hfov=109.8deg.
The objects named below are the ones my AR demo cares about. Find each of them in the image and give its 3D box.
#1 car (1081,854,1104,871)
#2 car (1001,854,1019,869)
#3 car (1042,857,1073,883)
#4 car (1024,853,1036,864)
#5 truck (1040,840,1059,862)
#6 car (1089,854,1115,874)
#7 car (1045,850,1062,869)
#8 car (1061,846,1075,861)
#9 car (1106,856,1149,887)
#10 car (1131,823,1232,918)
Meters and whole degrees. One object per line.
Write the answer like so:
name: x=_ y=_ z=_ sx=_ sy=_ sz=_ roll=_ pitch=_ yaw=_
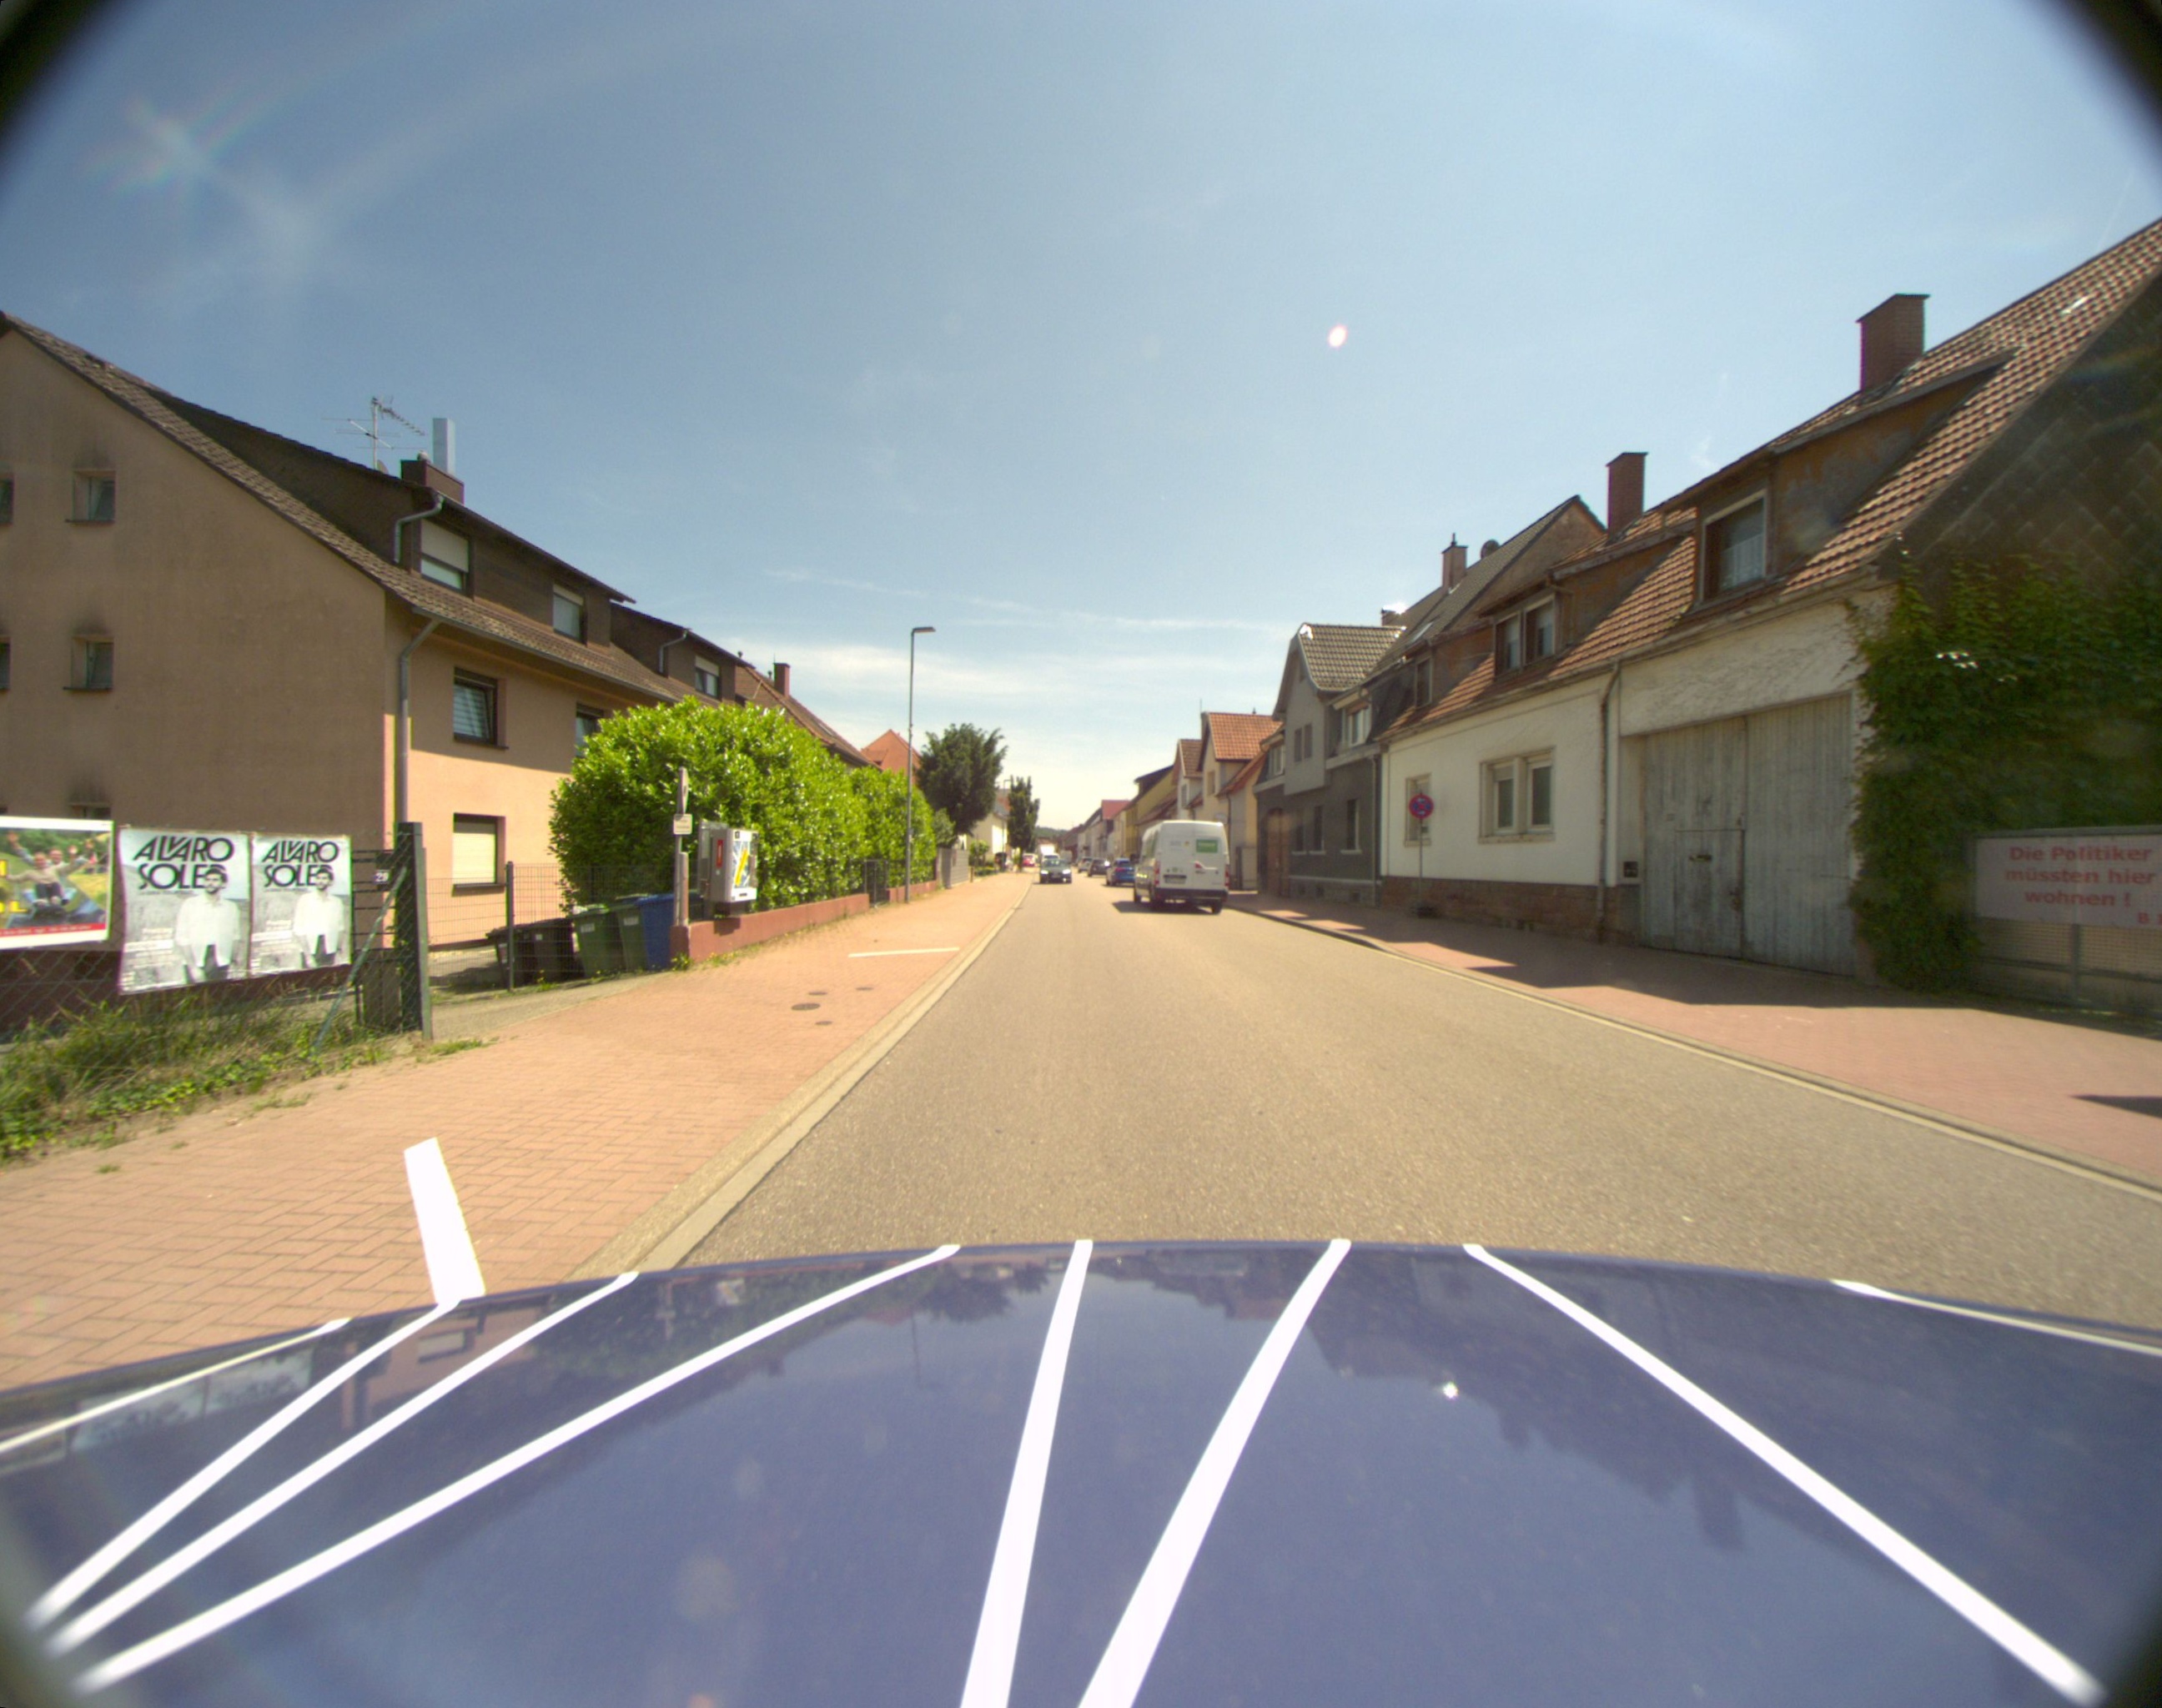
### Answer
car: x=1.084 y=0.794 z=73.544 sx=1.879 sy=1.593 sz=4.430 roll=2 pitch=0 yaw=-4
car: x=-7.844 y=0.807 z=84.092 sx=1.509 sy=1.521 sz=4.436 roll=-2 pitch=0 yaw=0
car: x=-1.360 y=0.883 z=43.464 sx=1.705 sy=1.346 sz=3.999 roll=-1 pitch=0 yaw=-2
car: x=-7.427 y=0.654 z=111.685 sx=1.637 sy=1.572 sz=3.569 roll=2 pitch=0 yaw=-3
truck: x=-5.164 y=-0.495 z=125.320 sx=2.899 sy=3.516 sz=12.950 roll=0 pitch=0 yaw=-2
car: x=1.596 y=0.764 z=59.486 sx=1.681 sy=1.450 sz=3.927 roll=1 pitch=0 yaw=-4
car: x=-2.741 y=0.564 z=76.683 sx=1.637 sy=1.833 sz=3.569 roll=0 pitch=0 yaw=-2
car: x=-2.302 y=-0.036 z=133.320 sx=2.116 sy=2.517 sz=4.912 roll=2 pitch=0 yaw=-4
car: x=2.358 y=0.885 z=39.640 sx=1.650 sy=1.445 sz=4.399 roll=2 pitch=0 yaw=-3
car: x=2.859 y=0.423 z=23.115 sx=2.035 sy=2.446 sz=6.067 roll=2 pitch=0 yaw=-2
